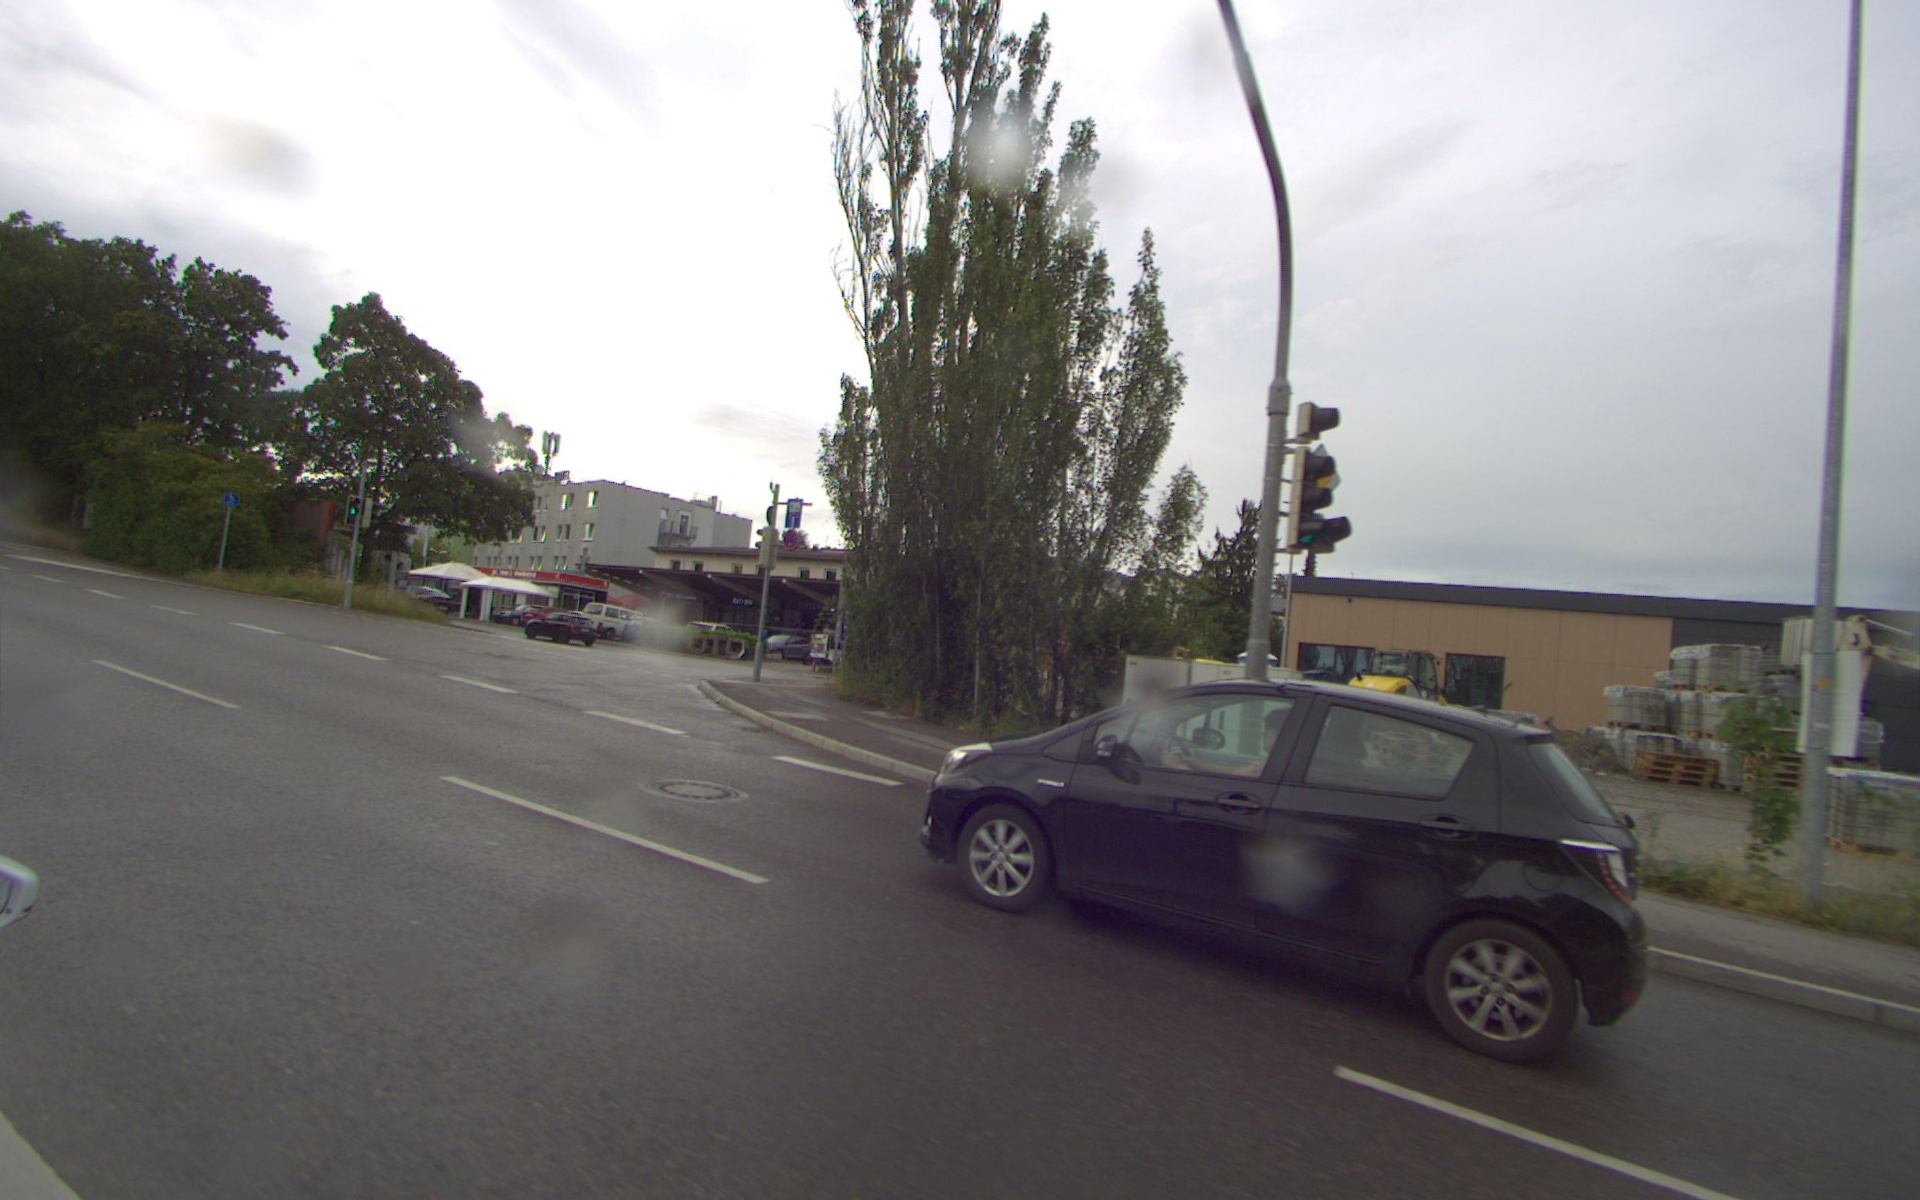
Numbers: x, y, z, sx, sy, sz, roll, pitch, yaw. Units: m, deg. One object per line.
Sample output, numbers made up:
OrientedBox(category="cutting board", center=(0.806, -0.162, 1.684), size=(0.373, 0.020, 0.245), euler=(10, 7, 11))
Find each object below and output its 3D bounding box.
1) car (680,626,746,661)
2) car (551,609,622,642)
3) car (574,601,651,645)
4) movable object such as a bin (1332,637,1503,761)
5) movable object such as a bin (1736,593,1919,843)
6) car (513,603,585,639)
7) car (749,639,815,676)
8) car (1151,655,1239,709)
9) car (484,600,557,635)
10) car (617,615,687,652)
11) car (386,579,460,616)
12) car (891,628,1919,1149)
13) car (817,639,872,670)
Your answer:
OrientedBox(category="car", center=(-14.292, 2.555, 58.351), size=(1.490, 1.581, 3.883), euler=(7, -3, 24))
OrientedBox(category="car", center=(-21.802, 1.495, 58.907), size=(1.490, 1.413, 3.883), euler=(7, -4, 24))
OrientedBox(category="car", center=(-19.816, 1.346, 57.547), size=(1.823, 1.967, 3.883), euler=(7, -3, 24))
OrientedBox(category="movable object such as a bin", center=(12.384, 2.711, 27.096), size=(4.944, 2.647, 1.881), euler=(11, -3, -37))
OrientedBox(category="movable object such as a bin", center=(15.011, 1.979, 14.508), size=(5.326, 3.312, 2.311), euler=(7, -2, 23))
OrientedBox(category="car", center=(-24.342, 1.270, 59.732), size=(1.490, 1.581, 3.883), euler=(7, -3, 24))
OrientedBox(category="car", center=(-9.795, 3.197, 55.541), size=(1.490, 1.581, 3.883), euler=(7, -3, 24))
OrientedBox(category="car", center=(10.268, 3.592, 43.670), size=(2.074, 1.820, 4.318), euler=(7, -3, 36))
OrientedBox(category="car", center=(-26.509, 1.072, 60.756), size=(1.490, 1.581, 3.883), euler=(7, -3, 24))
OrientedBox(category="car", center=(-17.503, 1.931, 57.326), size=(1.490, 1.581, 3.883), euler=(7, -3, 24))
OrientedBox(category="car", center=(-31.312, -0.164, 58.671), size=(4.073, 1.602, 1.783), euler=(5, -6, 31))
OrientedBox(category="car", center=(2.064, 1.169, 5.444), size=(4.564, 1.485, 1.750), euler=(4, -5, 31))
OrientedBox(category="car", center=(-7.766, 3.688, 67.796), size=(1.881, 1.581, 3.885), euler=(7, -3, 22))
